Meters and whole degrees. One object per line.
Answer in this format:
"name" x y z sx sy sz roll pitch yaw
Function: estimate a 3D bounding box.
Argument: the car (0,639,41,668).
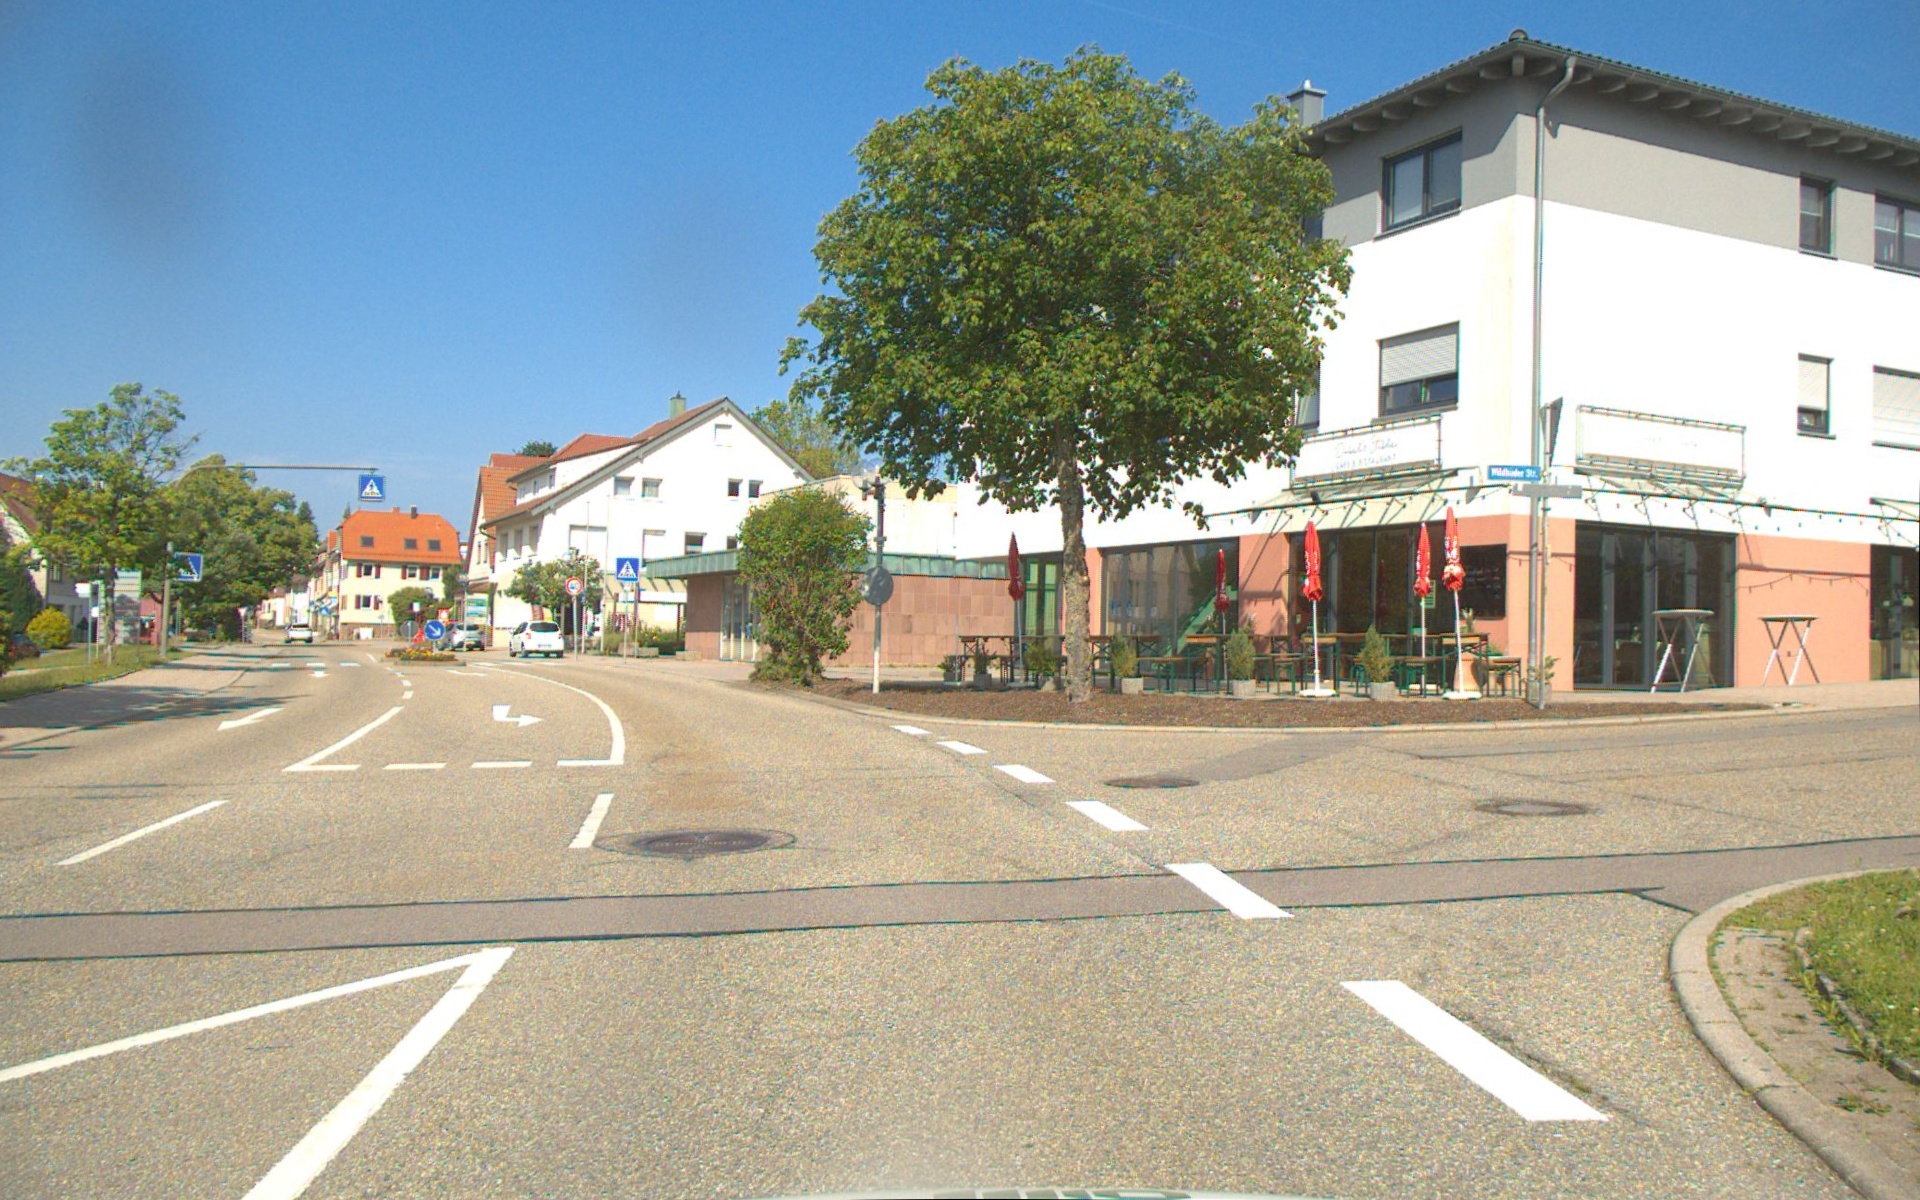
"car" -45.801 2.586 79.467 1.690 1.320 3.989 -1 -1 -11

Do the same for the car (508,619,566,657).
"car" -17.116 1.507 66.843 1.737 1.448 3.607 -1 0 -23

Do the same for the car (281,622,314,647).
"car" -57.993 2.994 144.707 2.464 2.049 4.270 -2 -1 -25

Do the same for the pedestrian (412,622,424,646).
"pedestrian" -40.420 2.531 123.298 0.788 1.816 0.973 0 -1 -21

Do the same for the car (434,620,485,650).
"car" -25.259 1.744 83.406 1.617 1.444 3.896 -1 0 -29
